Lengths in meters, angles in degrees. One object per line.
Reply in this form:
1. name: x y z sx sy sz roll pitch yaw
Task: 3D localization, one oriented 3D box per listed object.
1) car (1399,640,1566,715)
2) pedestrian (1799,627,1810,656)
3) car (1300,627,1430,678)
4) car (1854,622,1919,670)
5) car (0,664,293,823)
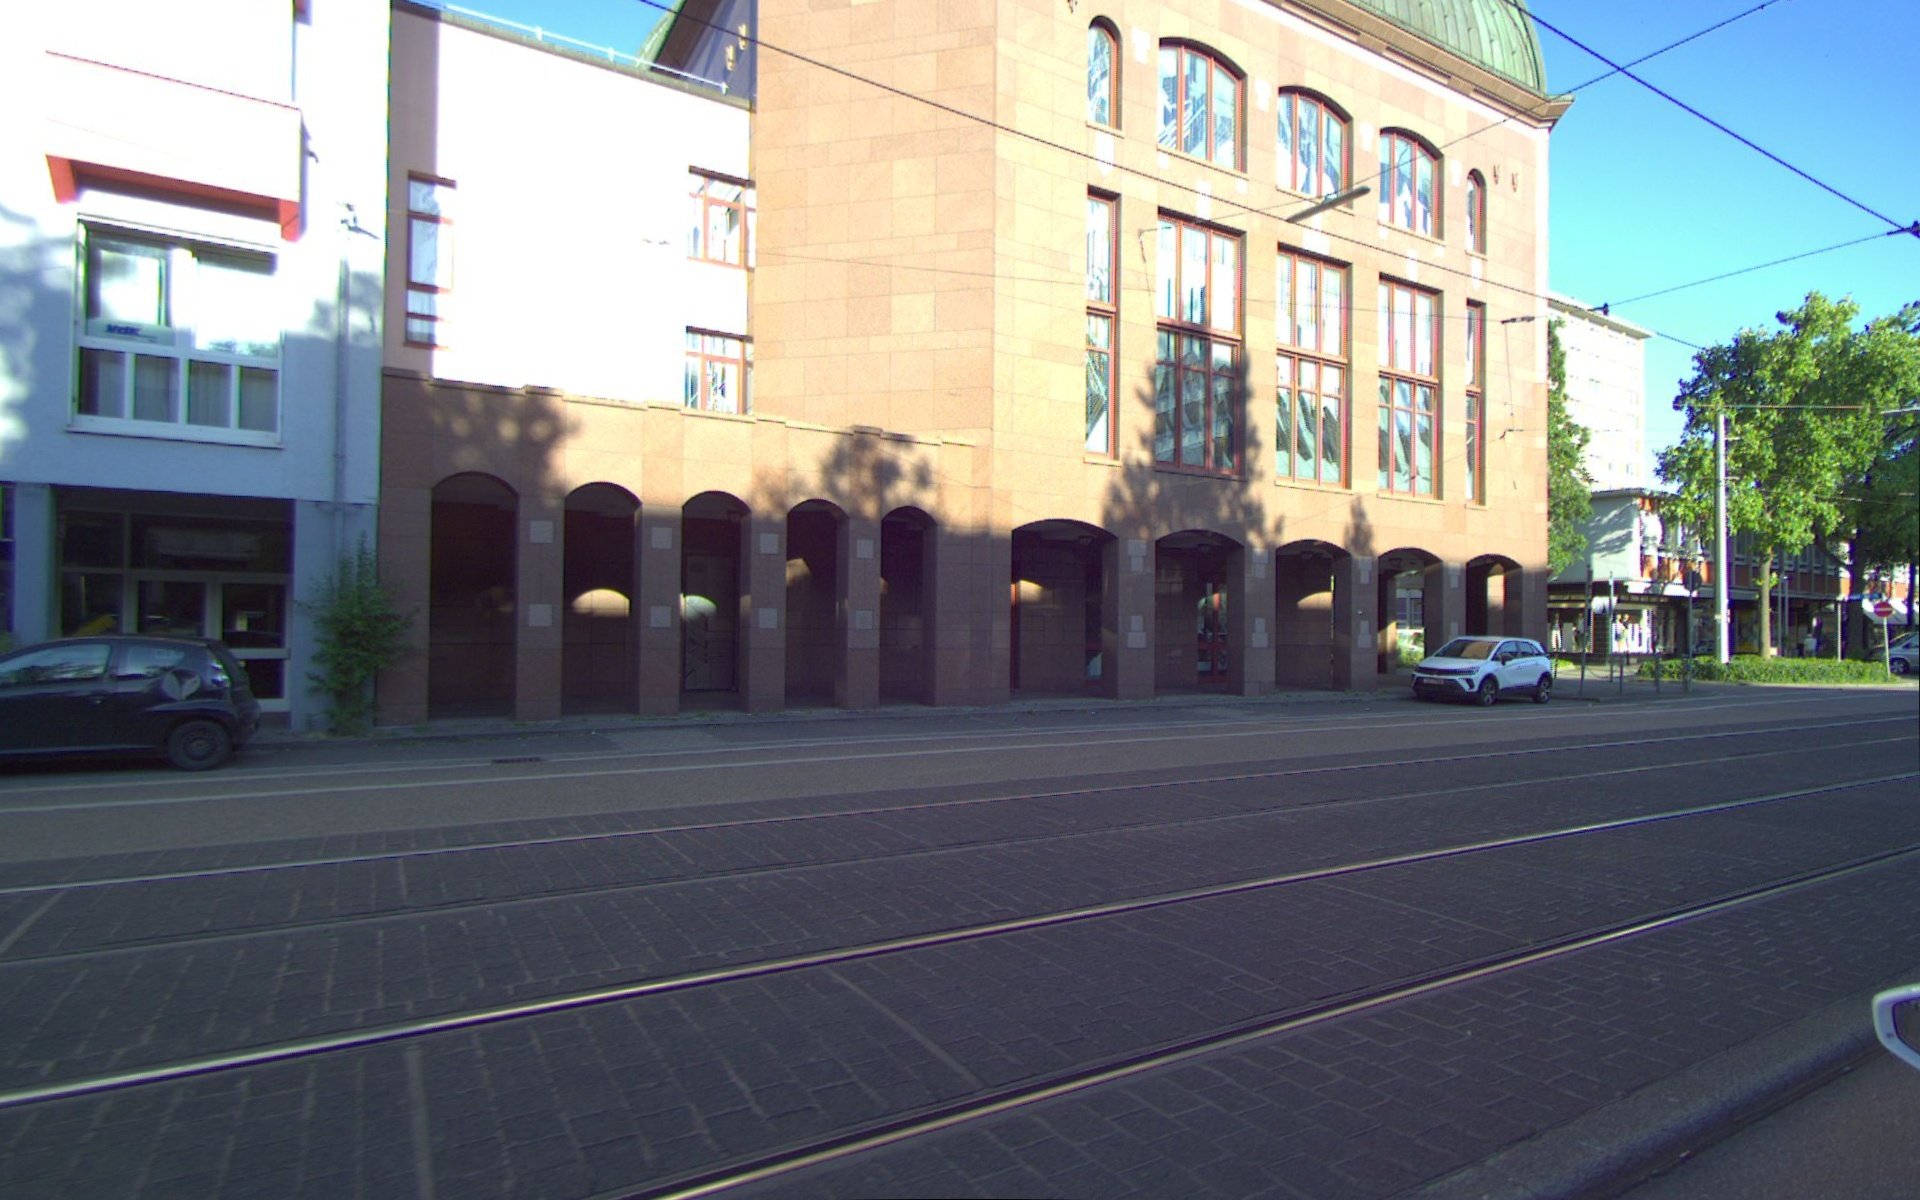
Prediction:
1. car: 12.866 1.834 24.657 4.209 1.621 1.858 1 -1 -34
2. pedestrian: 40.473 1.987 48.147 0.358 1.361 0.481 2 1 39
3. car: 17.585 2.240 43.785 2.134 2.020 4.877 1 -1 -39
4. car: 44.220 2.141 45.408 5.173 2.069 2.416 2 -1 28
5. car: -9.607 1.503 11.061 3.538 1.470 1.862 1 -1 -28
